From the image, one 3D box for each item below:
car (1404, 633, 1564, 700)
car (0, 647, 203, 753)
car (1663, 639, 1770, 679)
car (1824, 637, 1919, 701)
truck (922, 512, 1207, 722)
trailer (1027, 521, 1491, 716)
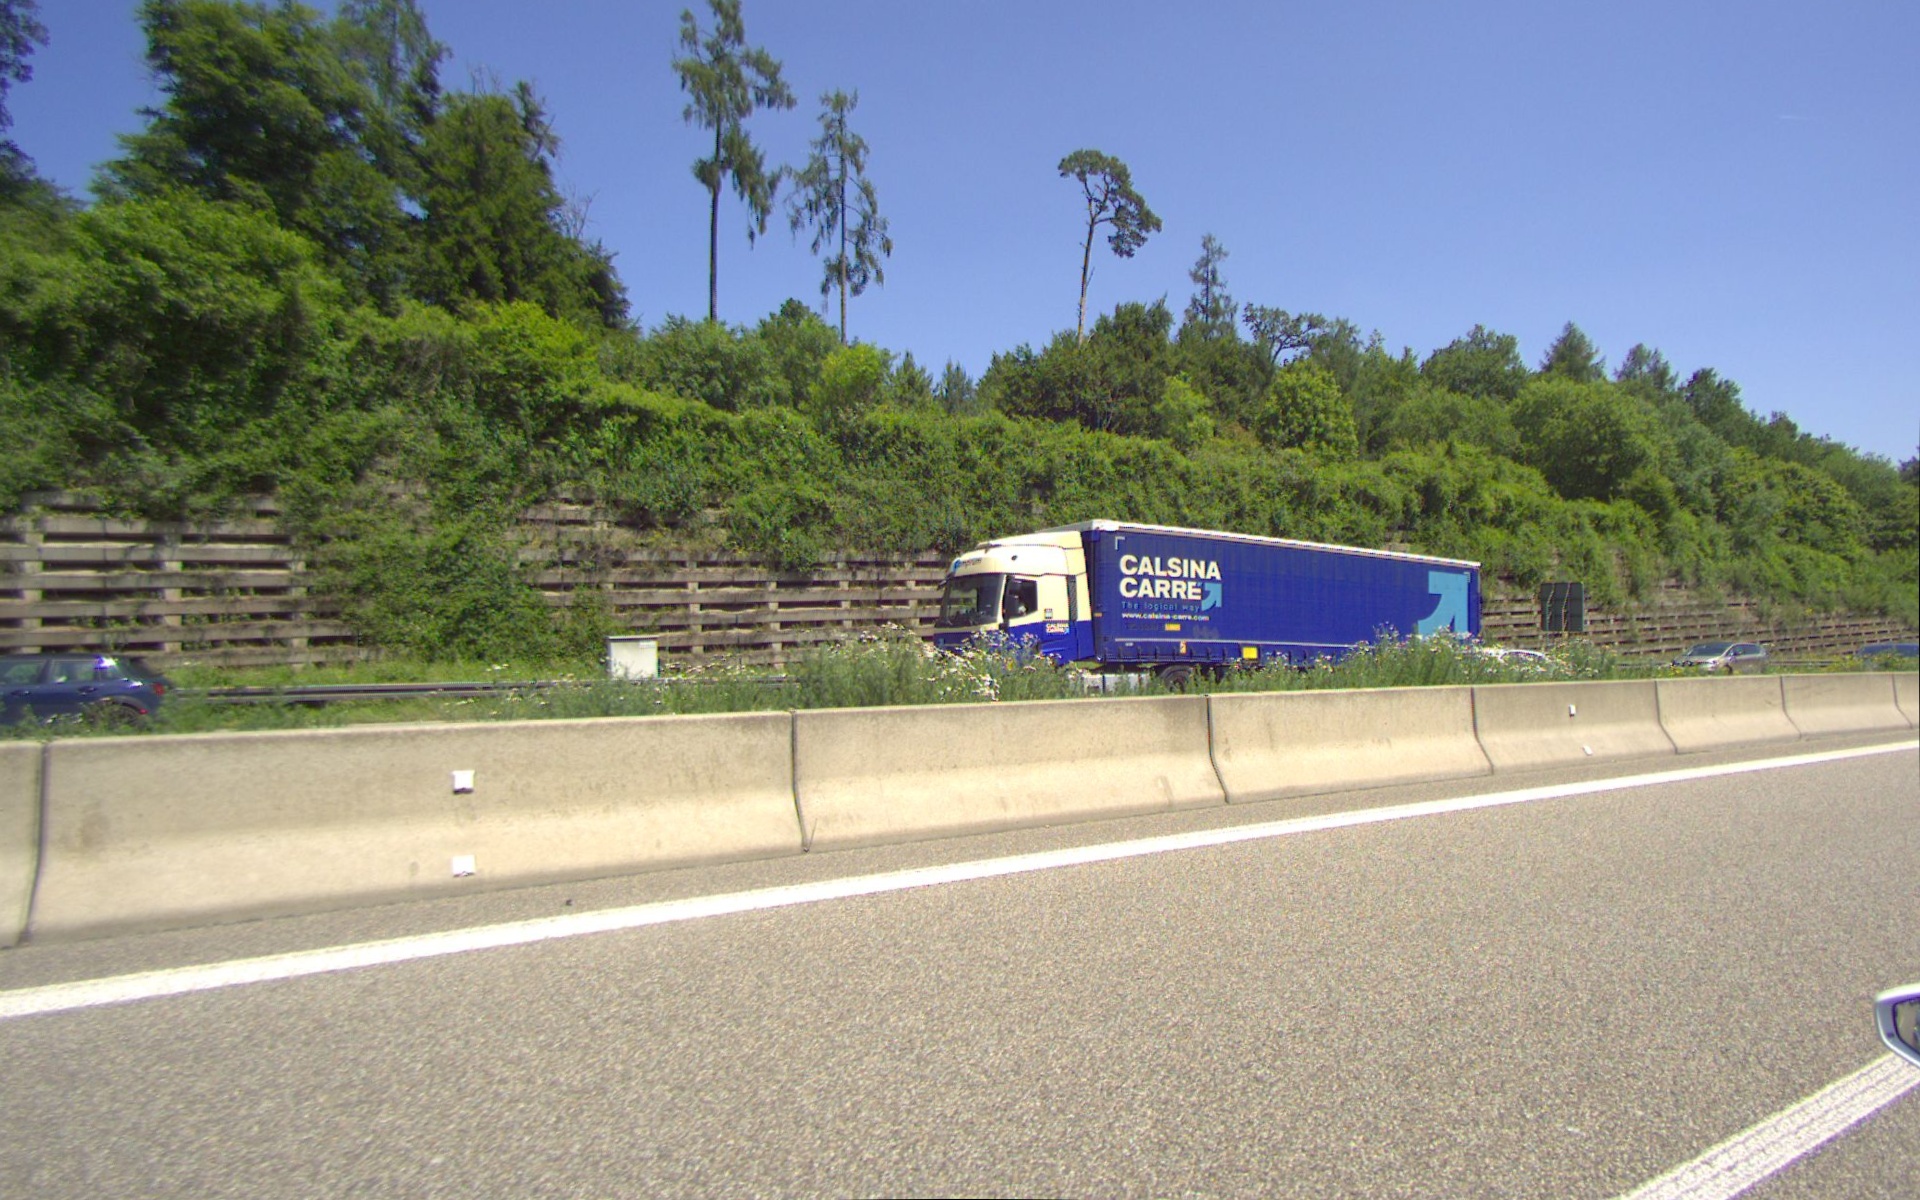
[{"bbox_3d":[12.573,1.543,24.071,3.667,1.394,1.650,1,1,-30],"label":"car"},{"bbox_3d":[-14.982,1.580,16.109,4.321,1.546,1.776,0,-2,-30],"label":"car"},{"bbox_3d":[30.200,2.318,40.065,4.863,1.472,1.650,1,-1,-30],"label":"car"},{"bbox_3d":[24.818,1.770,26.657,3.838,1.473,1.650,1,1,-30],"label":"car"},{"bbox_3d":[2.372,0.376,22.223,5.862,4.084,2.667,1,-1,-31],"label":"truck"},{"bbox_3d":[8.240,0.478,25.774,14.024,4.068,2.666,1,-1,-31],"label":"trailer"}]
